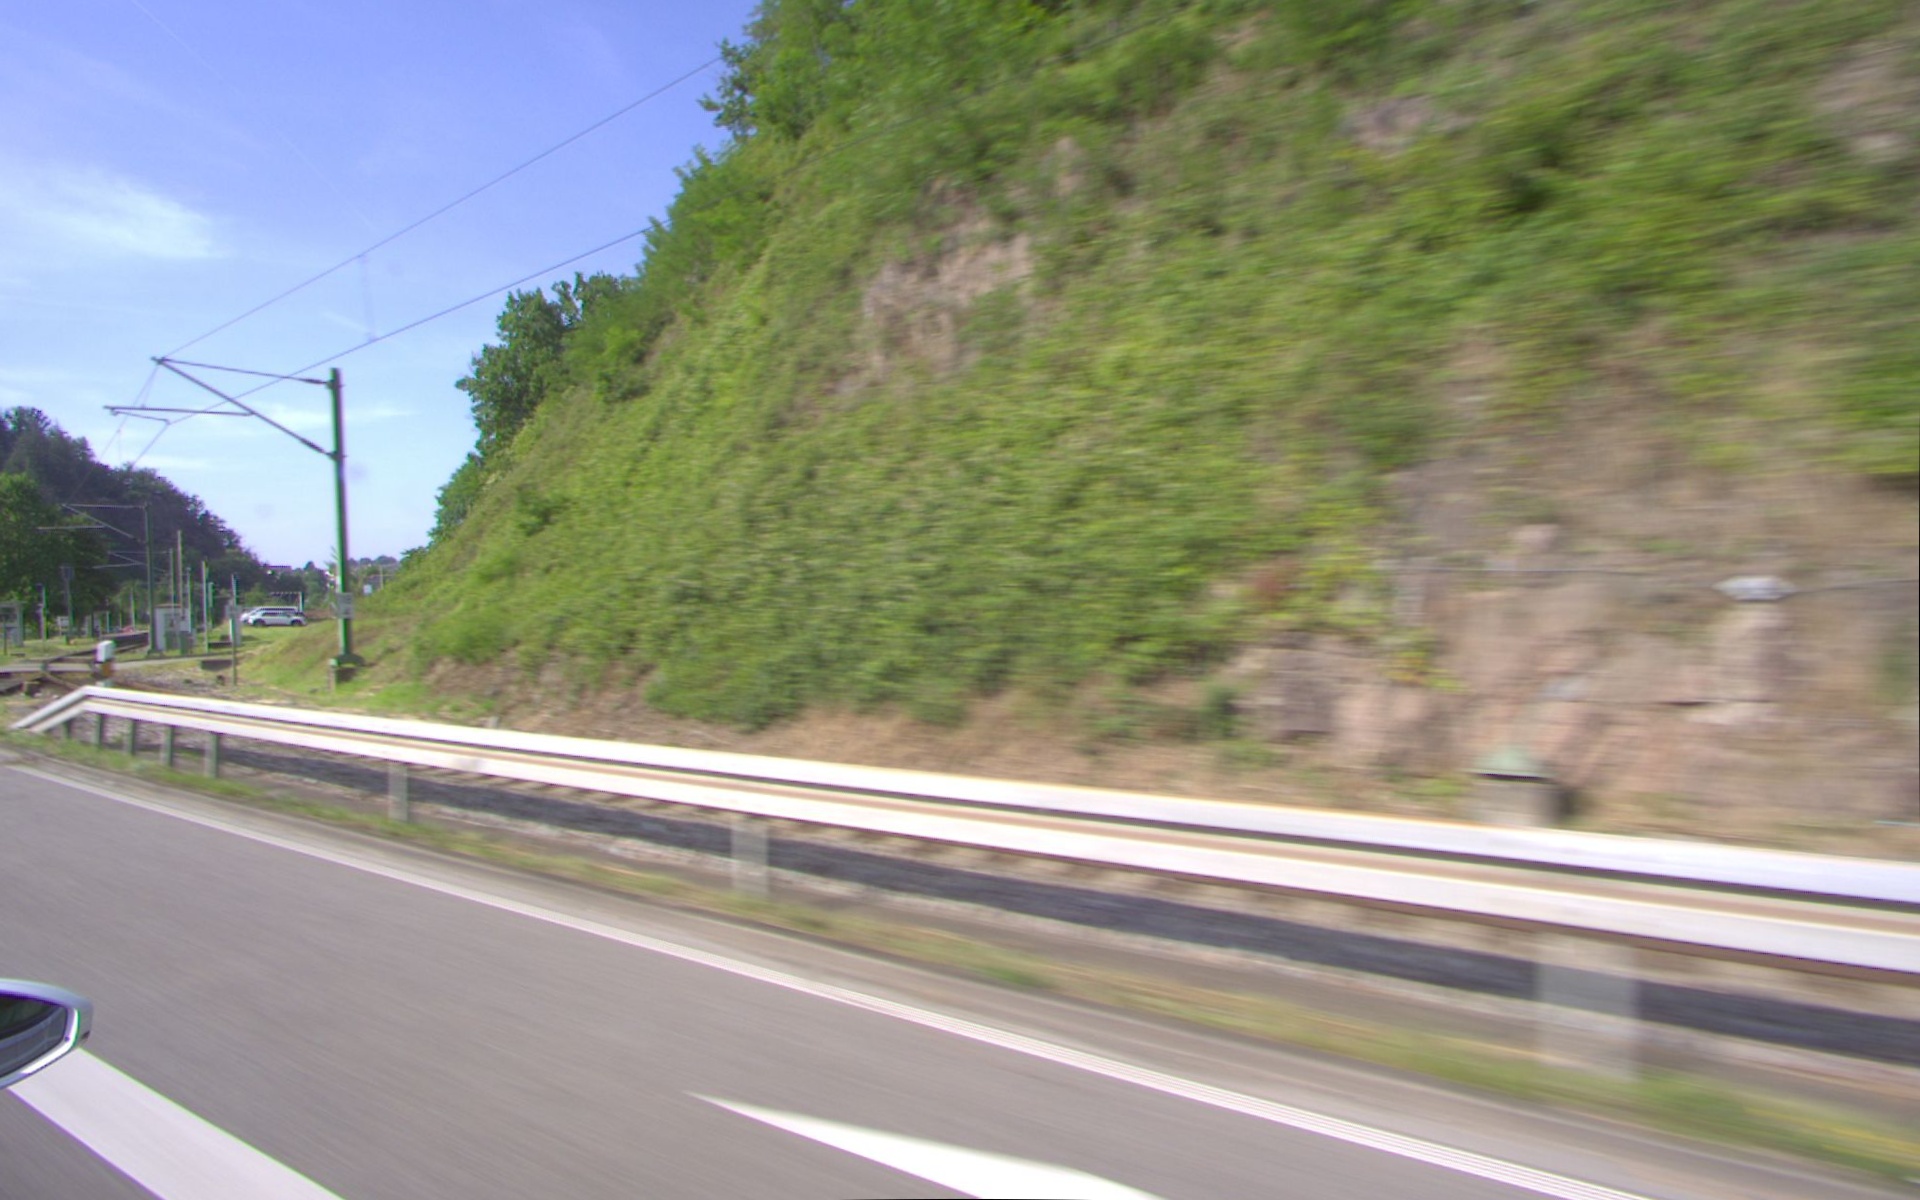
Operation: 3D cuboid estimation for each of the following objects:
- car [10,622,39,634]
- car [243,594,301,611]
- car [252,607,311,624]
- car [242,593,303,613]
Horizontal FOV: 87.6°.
[{"bbox_3d":[-118.698,3.486,127.120,1.788,1.427,3.754,-2,0,-30],"label":"car"},{"bbox_3d":[-71.886,0.305,104.678,4.906,1.713,1.922,0,-1,-36],"label":"car"},{"bbox_3d":[-57.307,1.269,84.604,4.059,1.416,1.797,0,-1,-36],"label":"car"},{"bbox_3d":[-67.679,0.289,98.541,4.906,1.969,2.126,0,-1,-36],"label":"car"}]
